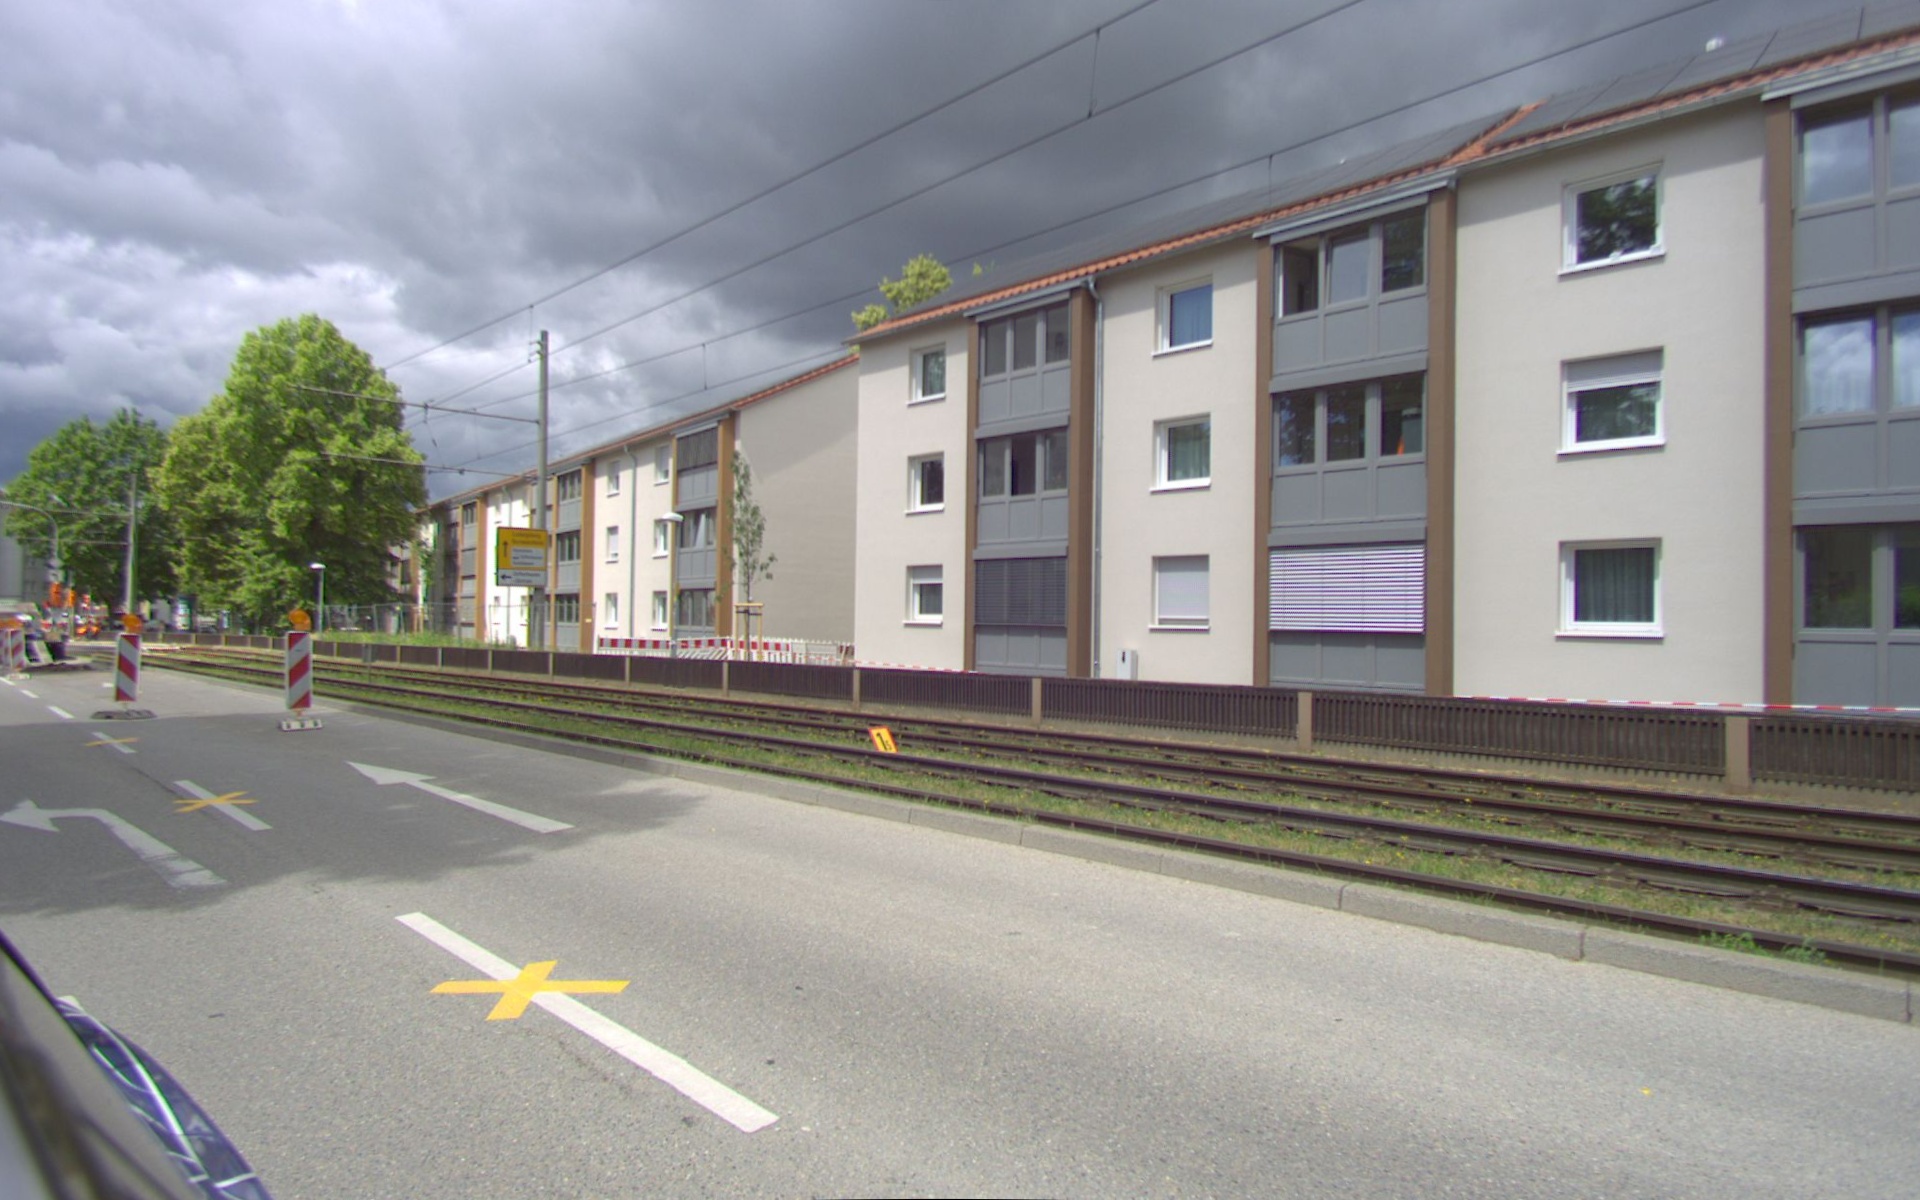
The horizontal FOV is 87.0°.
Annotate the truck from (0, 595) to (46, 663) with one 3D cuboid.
[{"bbox_3d":[-40.993,1.209,42.810,6.390,2.746,2.635,-1,-1,40],"label":"truck"}]

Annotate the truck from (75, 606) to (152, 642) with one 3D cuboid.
[{"bbox_3d":[-63.612,1.845,76.166,2.378,2.588,5.600,1,-2,-17],"label":"truck"}]

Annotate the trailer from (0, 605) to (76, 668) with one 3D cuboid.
[{"bbox_3d":[-36.166,1.359,38.692,6.243,2.231,2.635,-1,-1,40],"label":"trailer"}]
